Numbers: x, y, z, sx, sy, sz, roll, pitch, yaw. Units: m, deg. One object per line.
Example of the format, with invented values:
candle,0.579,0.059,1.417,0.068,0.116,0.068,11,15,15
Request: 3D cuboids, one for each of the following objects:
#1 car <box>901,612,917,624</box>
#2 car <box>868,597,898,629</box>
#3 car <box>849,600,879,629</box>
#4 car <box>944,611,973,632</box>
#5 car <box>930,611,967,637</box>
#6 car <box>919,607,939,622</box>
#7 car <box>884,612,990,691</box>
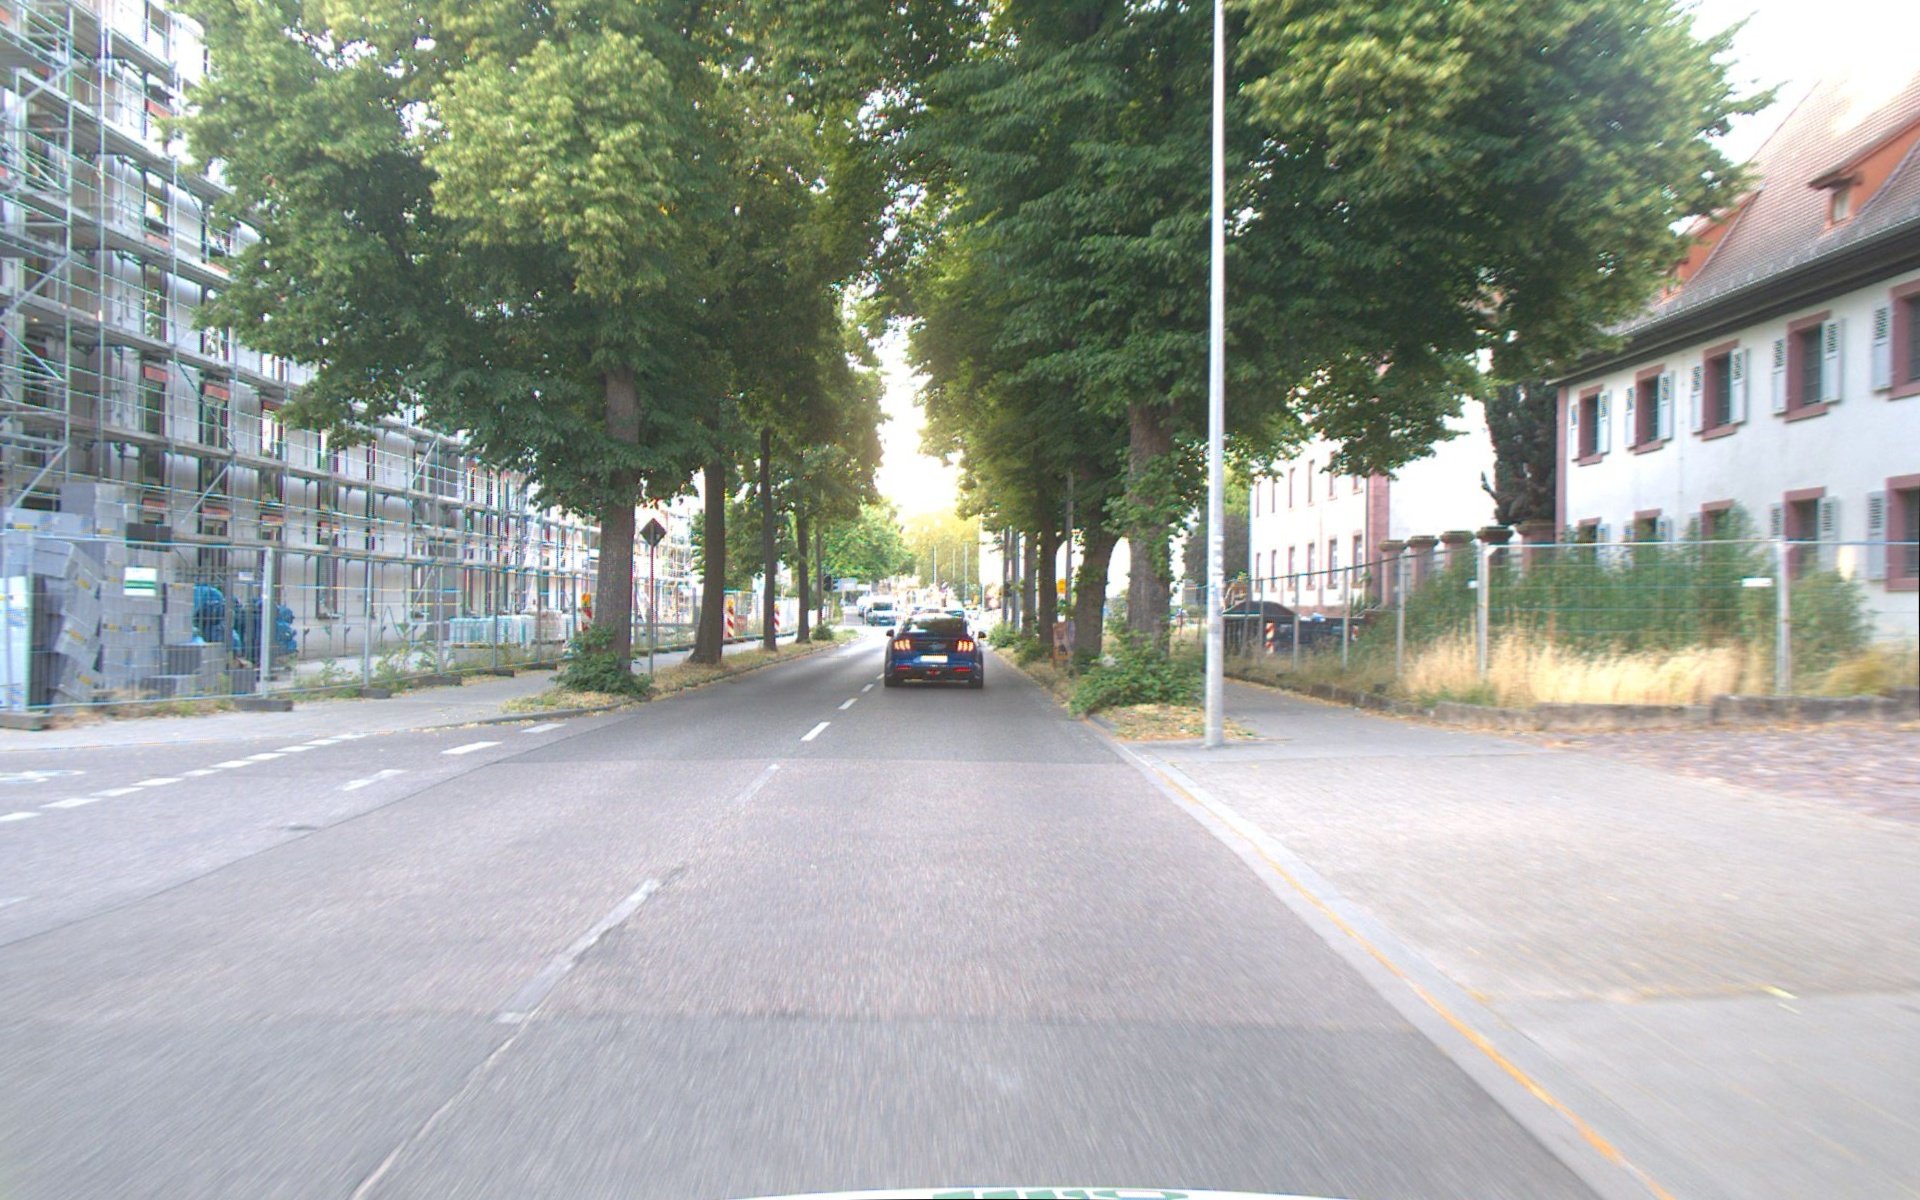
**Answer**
car,-6.187,2.132,200.838,1.907,1.350,3.999,2,0,-1
car,-6.620,1.098,141.080,2.443,2.744,5.825,0,0,-4
car,-7.500,1.125,129.440,2.290,2.236,5.304,0,0,-4
car,-0.127,1.424,110.575,1.907,1.350,3.999,2,0,-1
car,-0.614,1.325,93.795,1.907,1.350,4.001,2,0,1
car,-3.104,1.471,167.771,1.907,1.350,3.999,2,0,-1
car,-0.435,0.964,32.462,1.907,1.350,3.999,2,0,-1
